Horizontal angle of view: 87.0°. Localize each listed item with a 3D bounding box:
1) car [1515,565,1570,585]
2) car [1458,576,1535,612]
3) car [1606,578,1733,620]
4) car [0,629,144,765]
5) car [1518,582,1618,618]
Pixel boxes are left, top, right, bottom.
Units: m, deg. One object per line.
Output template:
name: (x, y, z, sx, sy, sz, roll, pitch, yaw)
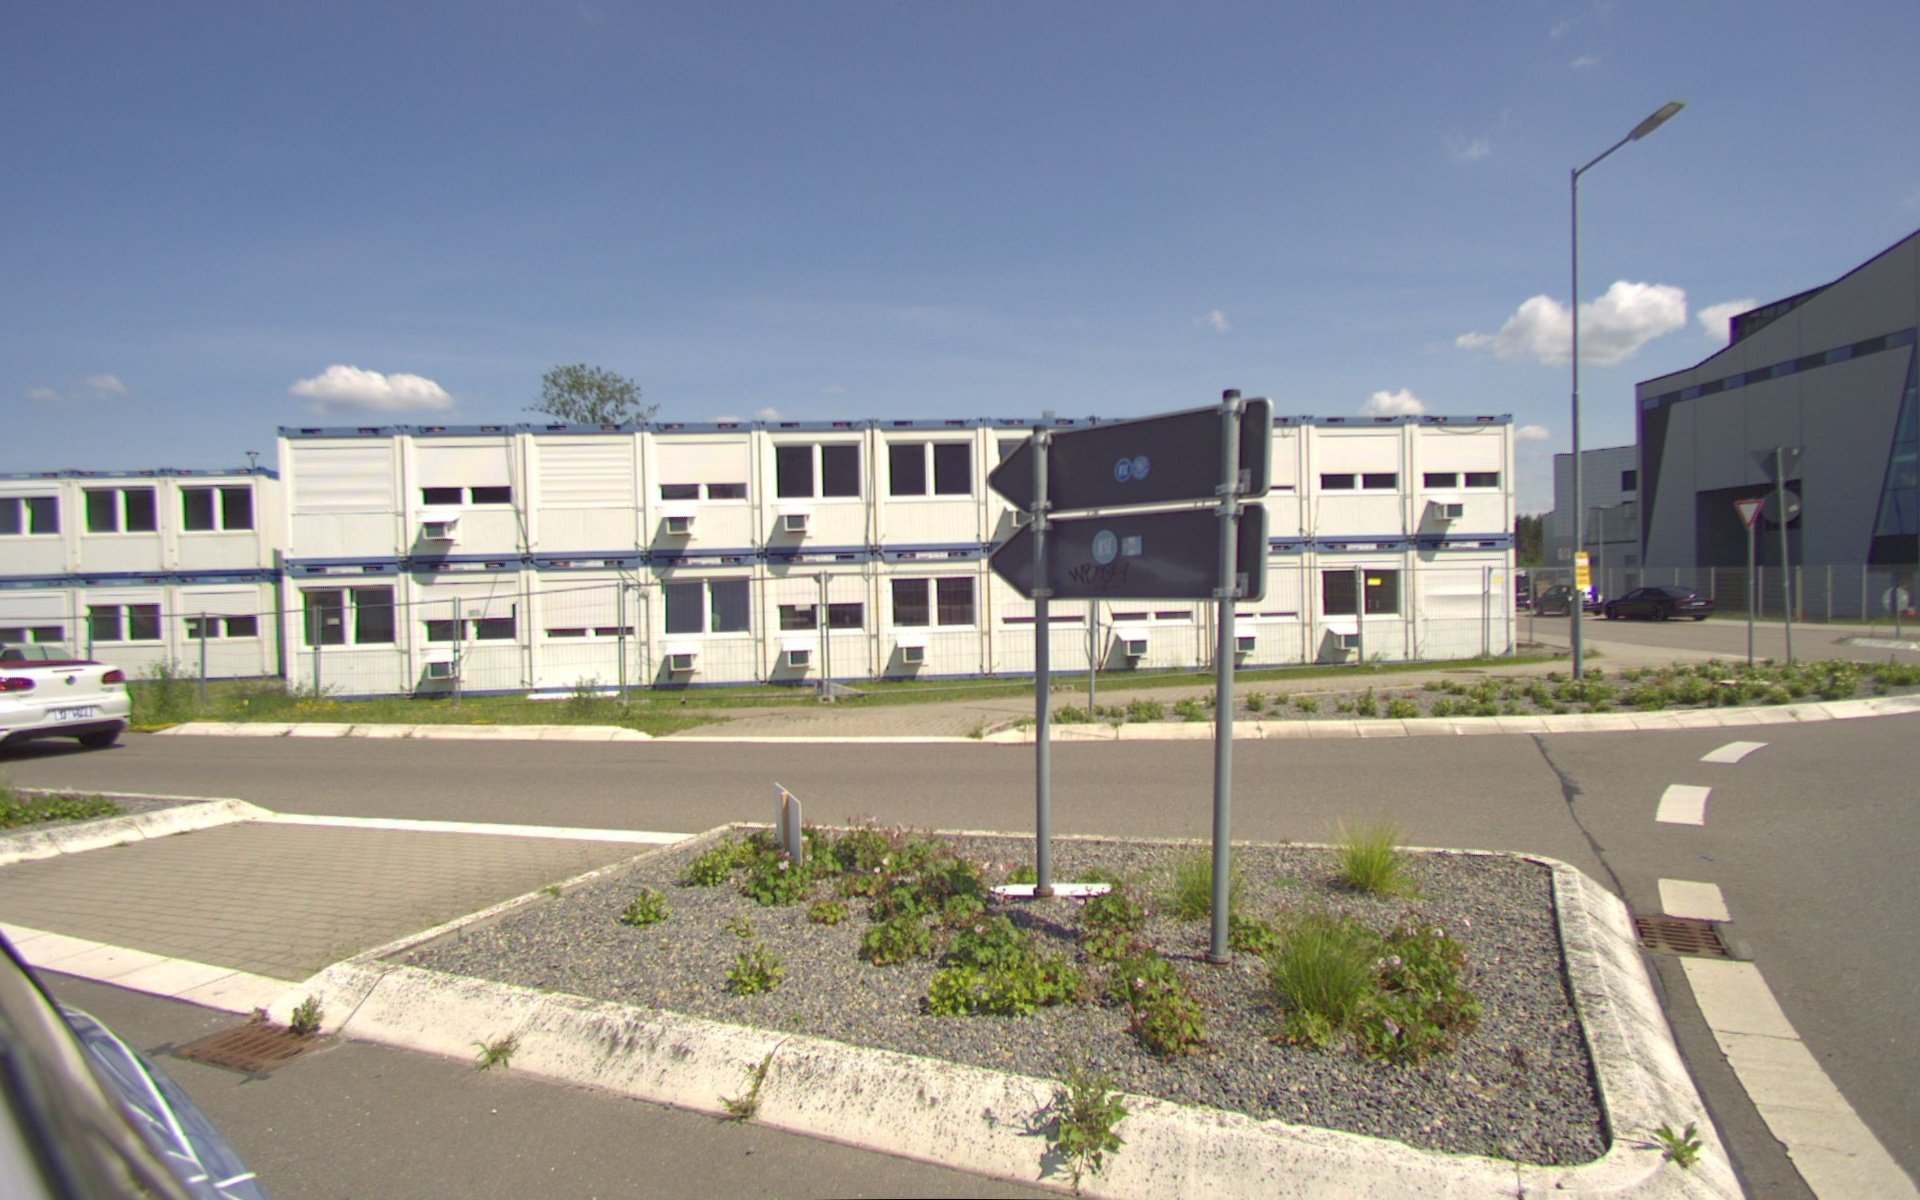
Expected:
car: (57.601, -2.450, 100.046, 4.251, 1.880, 2.001, -2, 1, -2)
car: (29.280, -0.367, 55.385, 1.973, 1.845, 4.311, -2, 1, 2)
car: (28.996, -0.074, 41.546, 1.970, 1.561, 4.318, -2, 1, -4)
car: (-12.343, 1.124, 12.321, 4.015, 1.439, 1.767, -1, 0, 16)
car: (29.065, -0.045, 48.535, 1.970, 1.561, 4.317, -2, 1, -3)
